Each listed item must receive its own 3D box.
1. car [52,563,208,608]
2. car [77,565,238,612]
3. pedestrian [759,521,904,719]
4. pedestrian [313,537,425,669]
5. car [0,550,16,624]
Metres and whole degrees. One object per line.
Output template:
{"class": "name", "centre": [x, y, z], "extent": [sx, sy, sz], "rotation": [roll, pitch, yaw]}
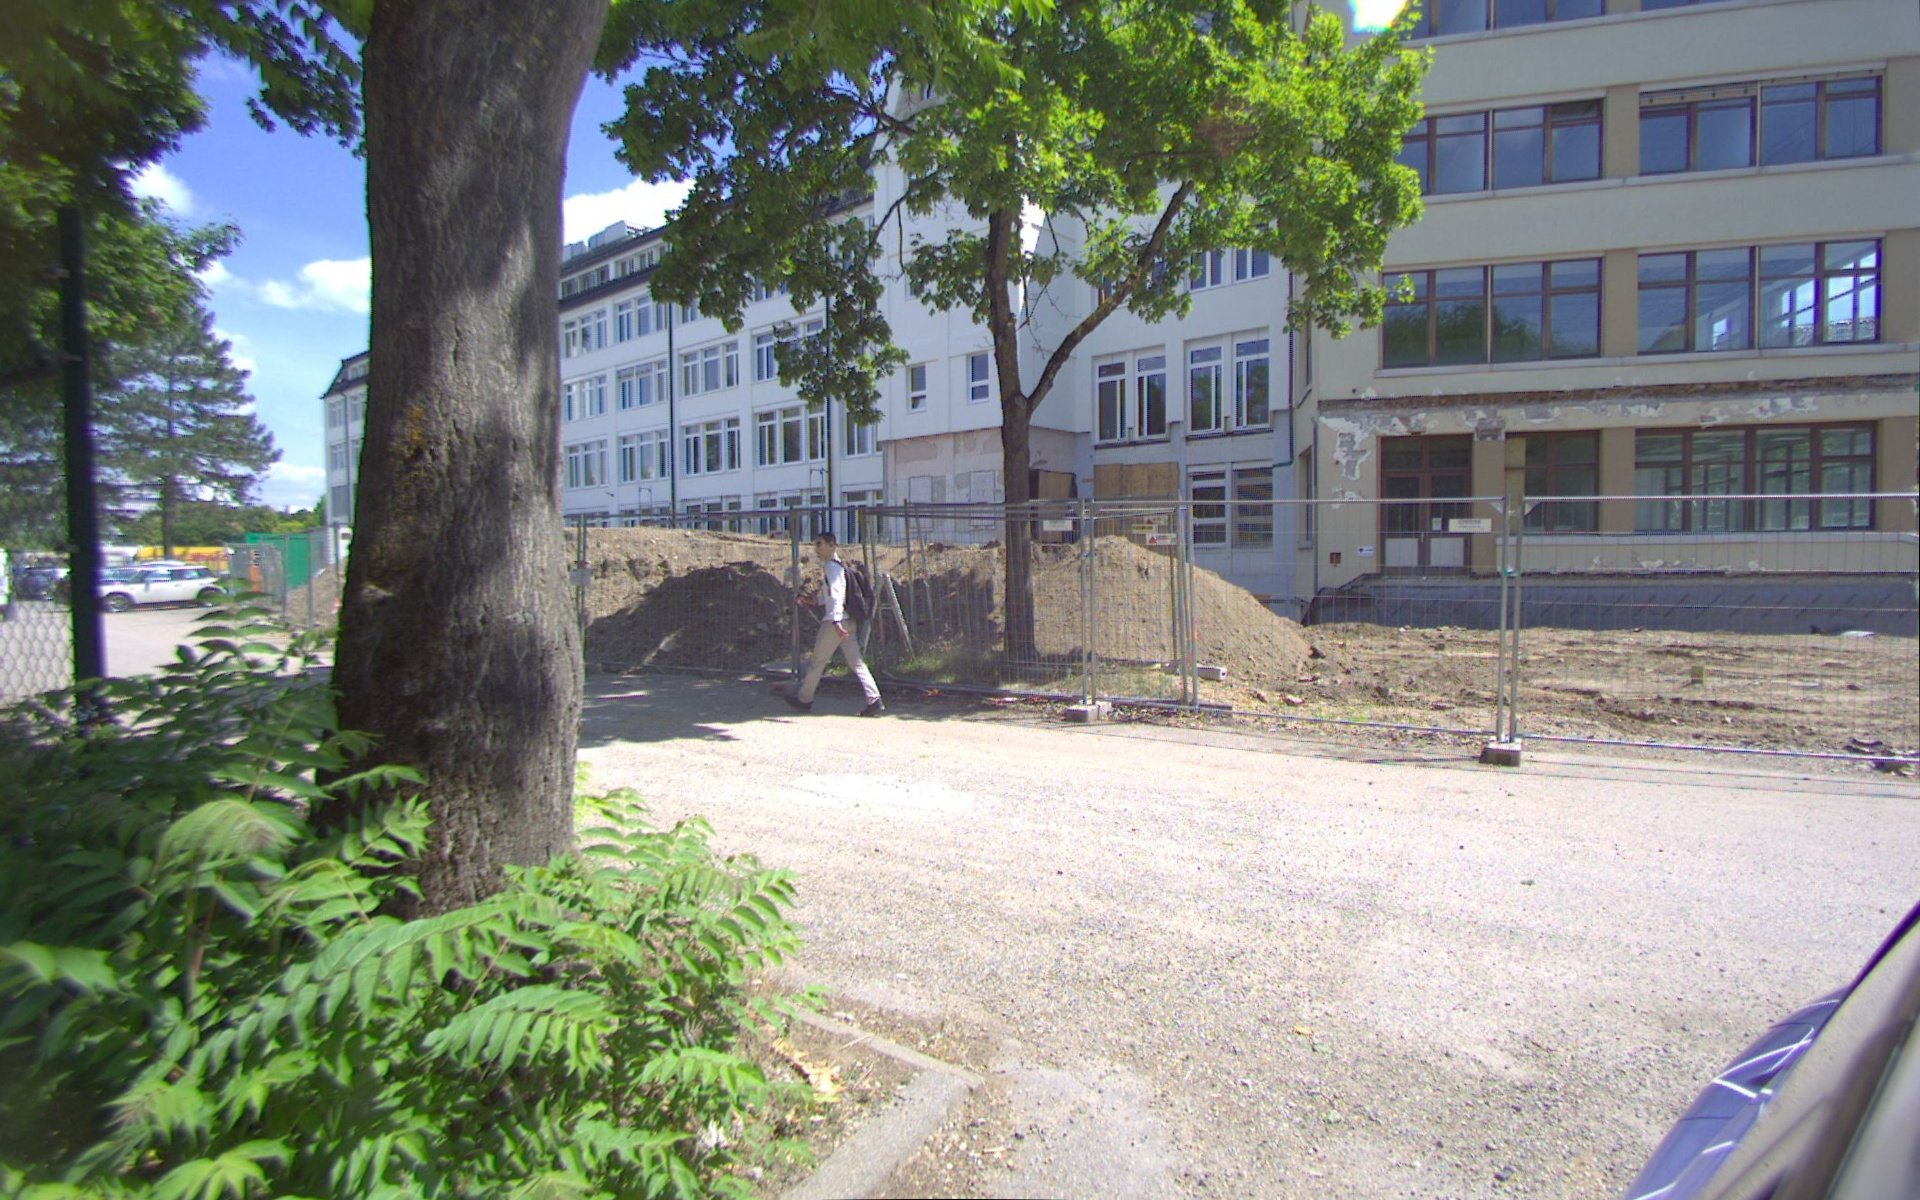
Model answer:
{"class": "car", "centre": [-28.811, -0.539, 35.208], "extent": [1.993, 1.437, 3.940], "rotation": [1, 3, 42]}
{"class": "car", "centre": [-26.694, -0.430, 33.754], "extent": [1.993, 1.437, 3.940], "rotation": [1, 2, 42]}
{"class": "pedestrian", "centre": [-1.214, 0.151, 9.597], "extent": [1.071, 1.750, 0.868], "rotation": [1, 2, 30]}
{"class": "pedestrian", "centre": [-7.920, 0.010, 13.564], "extent": [1.045, 1.670, 1.023], "rotation": [2, 3, 42]}
{"class": "car", "centre": [-27.893, -0.371, 28.065], "extent": [4.560, 1.971, 1.951], "rotation": [1, 3, 40]}
